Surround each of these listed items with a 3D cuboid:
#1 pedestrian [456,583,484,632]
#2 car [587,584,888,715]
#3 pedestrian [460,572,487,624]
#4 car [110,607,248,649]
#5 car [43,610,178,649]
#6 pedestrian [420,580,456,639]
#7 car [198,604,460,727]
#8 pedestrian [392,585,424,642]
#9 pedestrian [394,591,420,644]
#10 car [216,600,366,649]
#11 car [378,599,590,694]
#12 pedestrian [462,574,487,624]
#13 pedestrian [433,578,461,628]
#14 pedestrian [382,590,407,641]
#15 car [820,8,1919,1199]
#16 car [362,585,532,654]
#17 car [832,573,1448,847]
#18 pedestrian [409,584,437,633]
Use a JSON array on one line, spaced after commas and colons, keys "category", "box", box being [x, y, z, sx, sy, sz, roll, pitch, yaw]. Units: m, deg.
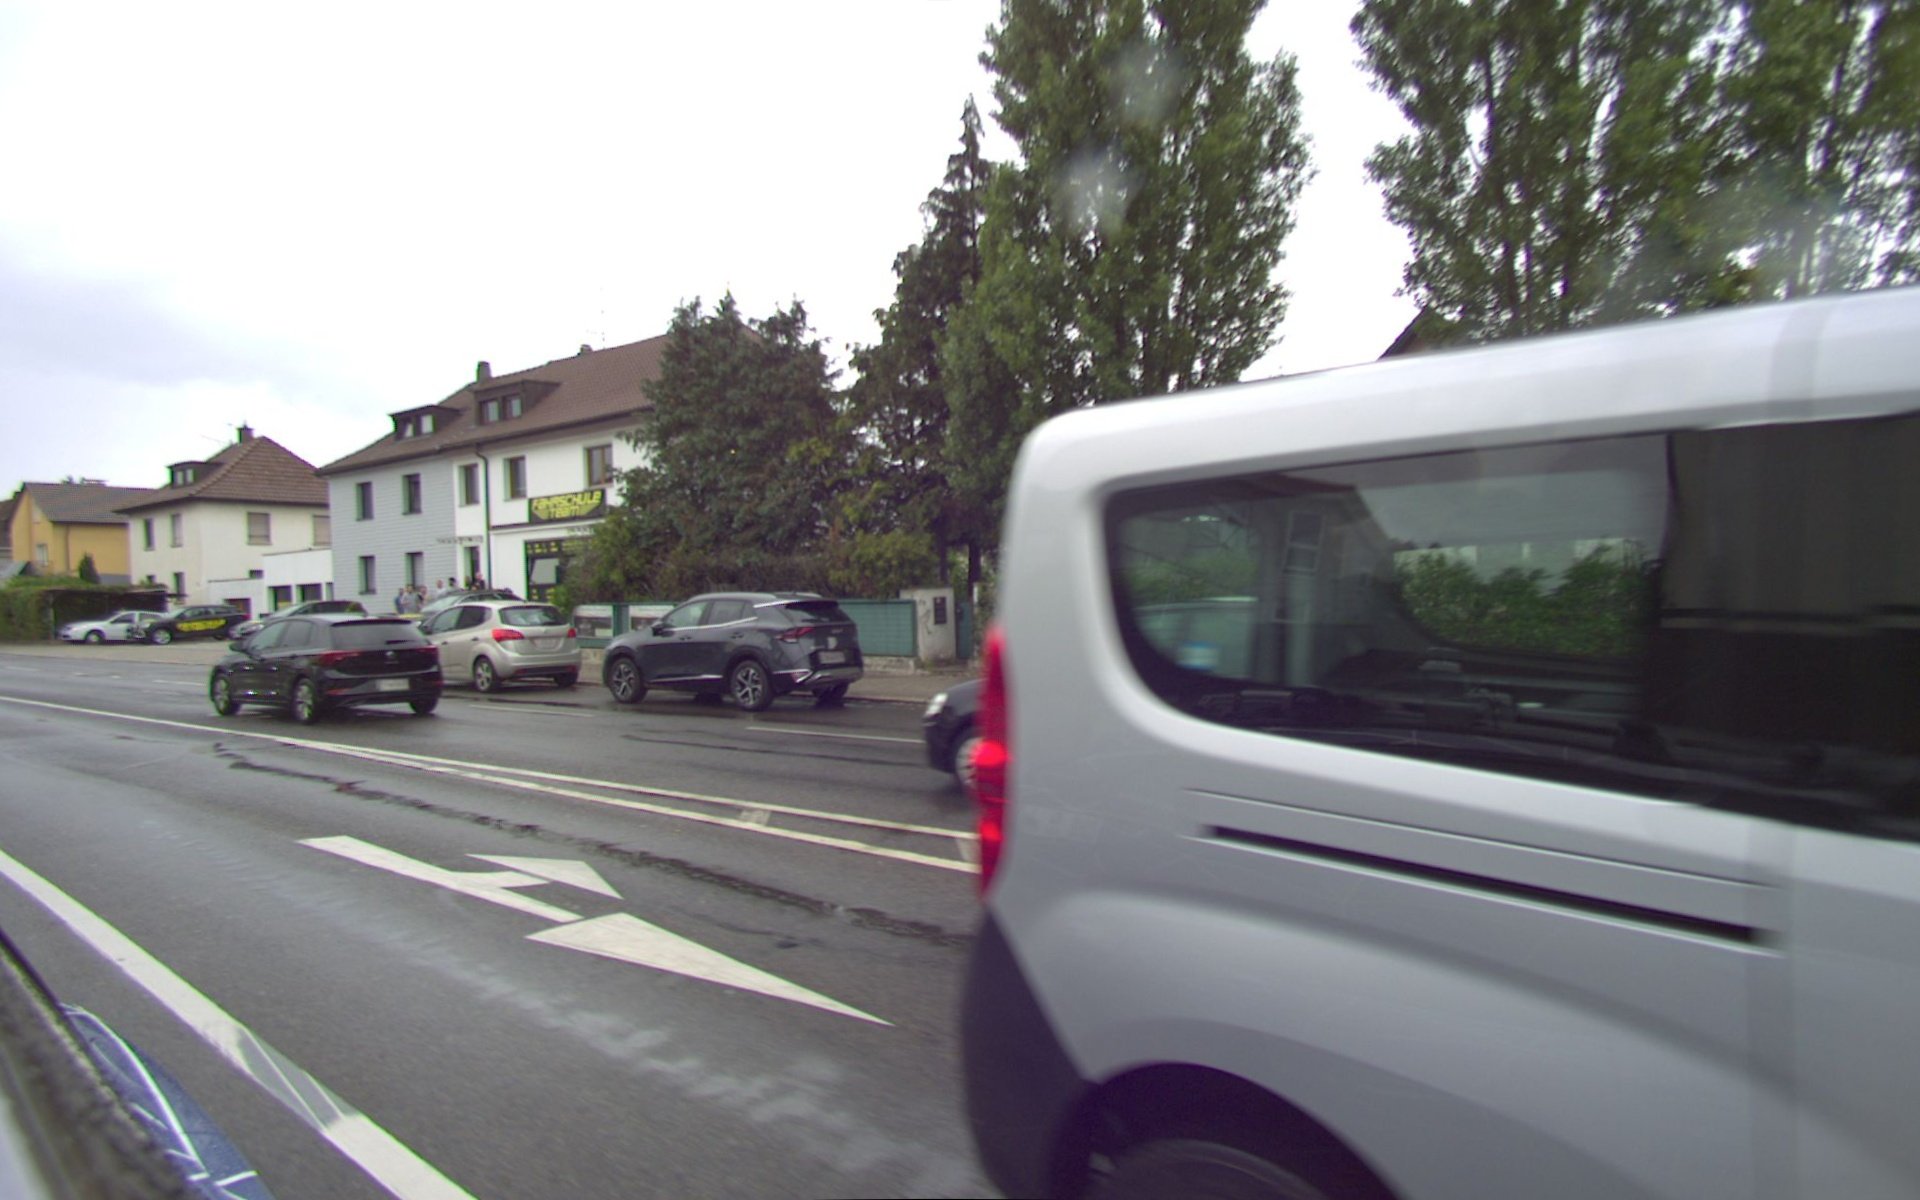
[{"category": "pedestrian", "box": [-17.083, 0.260, 35.281, 0.549, 1.682, 0.569, -2, 3, 33]}, {"category": "car", "box": [-3.413, 0.655, 15.134, 4.588, 1.682, 1.789, -1, 0, 35]}, {"category": "pedestrian", "box": [-16.026, -0.072, 33.338, 0.664, 1.682, 0.693, -4, 3, -26]}, {"category": "car", "box": [-31.794, 1.108, 41.296, 1.880, 1.430, 4.065, -1, 1, 34]}, {"category": "car", "box": [-36.989, 1.333, 44.161, 1.831, 1.495, 4.073, -2, -5, 27]}, {"category": "pedestrian", "box": [-17.255, 0.317, 33.442, 0.686, 1.880, 0.725, -1, 3, 40]}, {"category": "car", "box": [-9.020, 0.841, 14.384, 3.989, 1.514, 1.698, -1, 0, 34]}, {"category": "pedestrian", "box": [-18.125, 0.435, 33.254, 0.539, 1.801, 0.662, -1, 3, 38]}, {"category": "pedestrian", "box": [-19.288, 0.595, 35.288, 0.643, 1.800, 0.649, -4, 1, -32]}, {"category": "car", "box": [-23.462, 0.822, 35.600, 1.880, 1.430, 3.954, -1, 2, 34]}, {"category": "car", "box": [-8.937, 0.799, 18.909, 4.133, 1.580, 1.789, -1, 0, 35]}, {"category": "pedestrian", "box": [-16.498, -0.038, 34.388, 0.512, 1.682, 0.511, -1, 3, 40]}, {"category": "pedestrian", "box": [-17.940, 0.107, 35.389, 0.574, 1.682, 0.578, -2, 3, 33]}, {"category": "pedestrian", "box": [-20.304, 0.557, 36.329, 0.688, 1.766, 0.442, -1, 3, 36]}, {"category": "car", "box": [2.201, 0.383, 1.115, 4.740, 1.885, 1.932, -1, -1, 38]}, {"category": "car", "box": [-15.063, 0.543, 29.893, 1.868, 1.575, 3.954, -3, 4, 35]}, {"category": "car", "box": [1.194, 0.633, 7.336, 3.989, 1.475, 1.838, -2, -1, 34]}, {"category": "pedestrian", "box": [-19.294, 0.296, 36.335, 0.560, 1.720, 0.582, -2, 3, 33]}]
